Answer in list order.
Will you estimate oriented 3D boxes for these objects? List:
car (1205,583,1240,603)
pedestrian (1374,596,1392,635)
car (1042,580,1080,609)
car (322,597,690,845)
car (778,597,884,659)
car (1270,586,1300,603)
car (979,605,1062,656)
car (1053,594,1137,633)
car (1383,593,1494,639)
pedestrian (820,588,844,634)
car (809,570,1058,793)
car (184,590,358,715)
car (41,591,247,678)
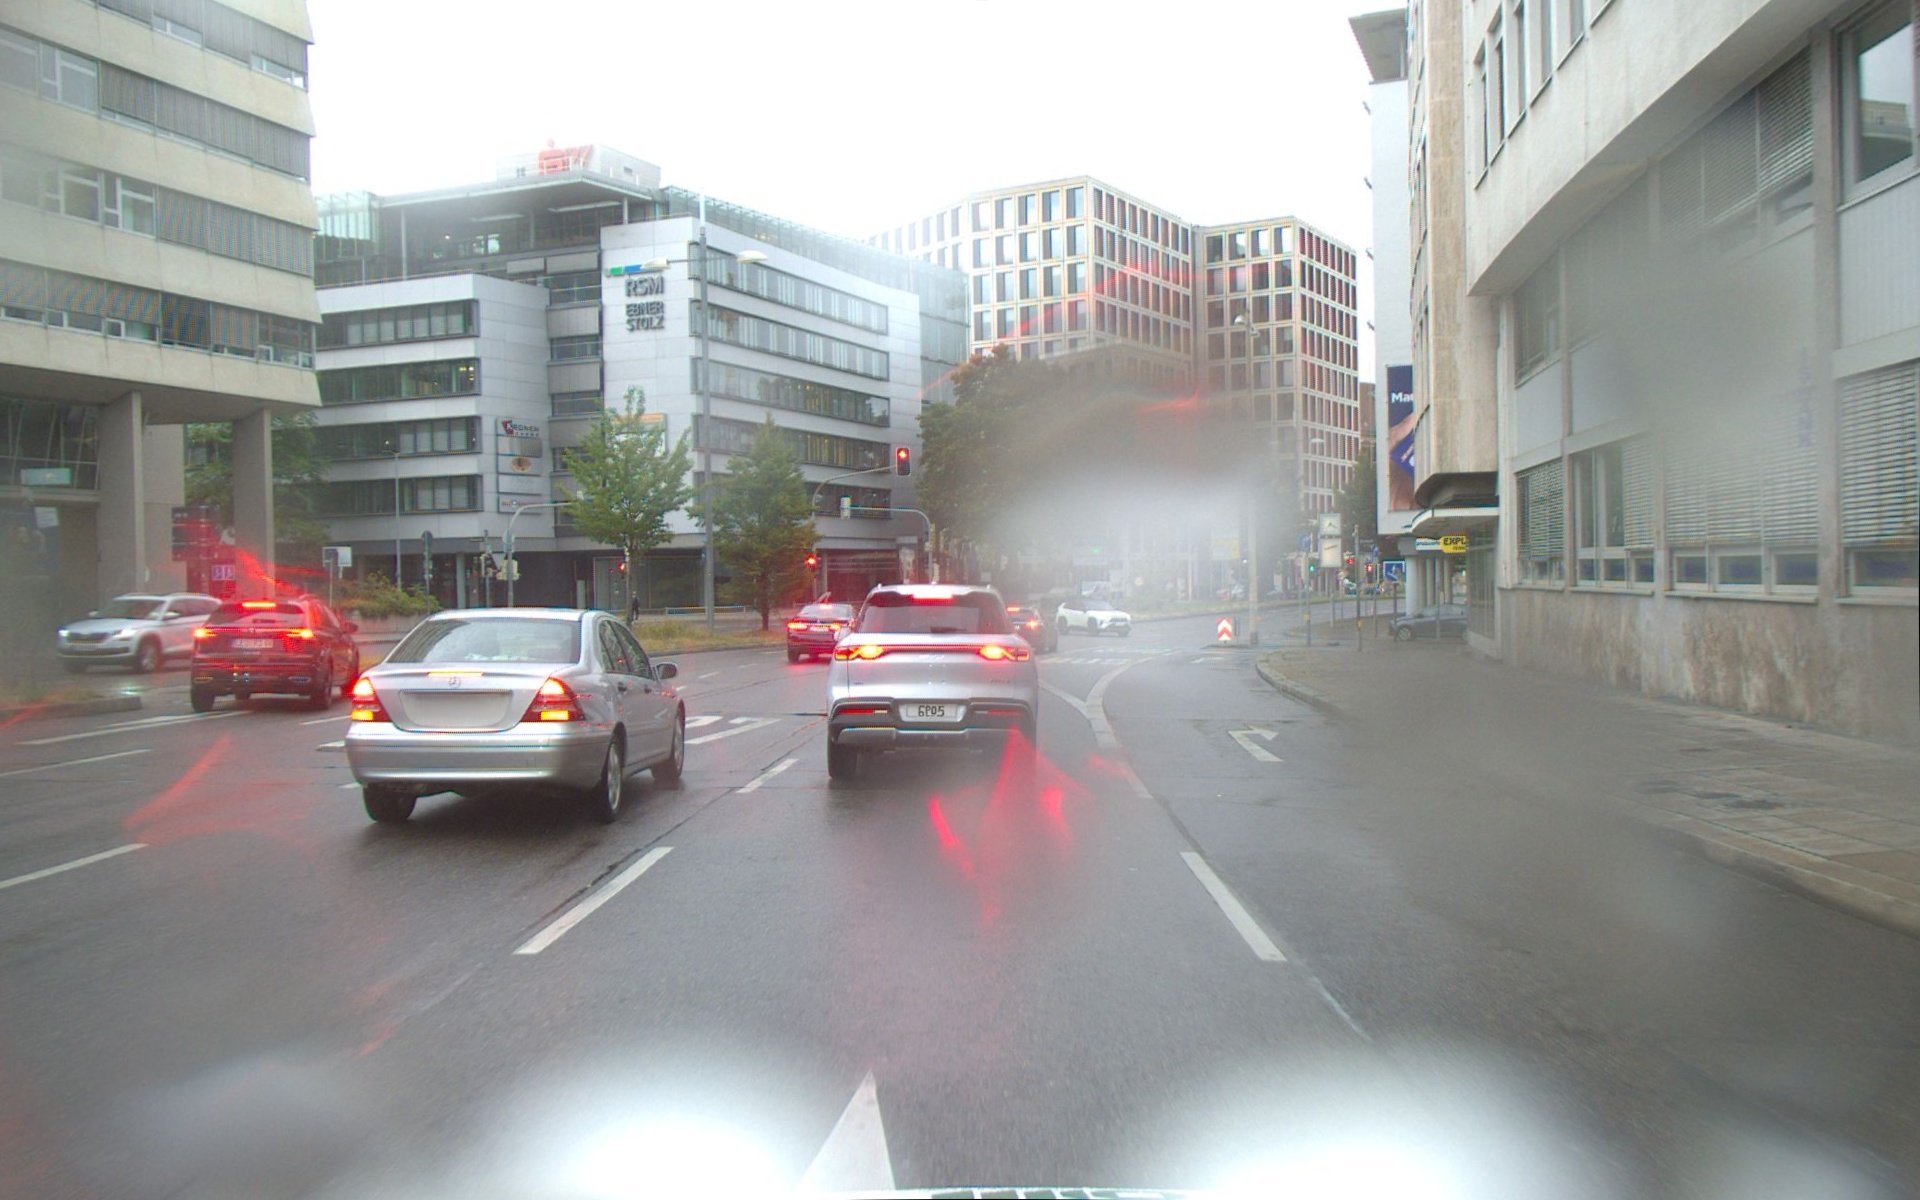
[{"bbox_3d":[24.722,-0.684,155.641,1.956,1.735,4.302,0,2,29],"label":"car"},{"bbox_3d":[18.816,0.701,73.594,0.712,1.698,0.691,0,-1,17],"label":"pedestrian"},{"bbox_3d":[7.776,-0.405,127.052,1.701,2.199,4.494,1,0,20],"label":"car"},{"bbox_3d":[-3.137,0.744,12.286,1.648,1.512,4.195,0,0,-1],"label":"car"},{"bbox_3d":[-3.333,0.696,43.495,1.913,1.557,4.003,0,0,9],"label":"car"},{"bbox_3d":[34.211,-0.574,174.119,1.956,1.735,4.302,0,2,29],"label":"car"},{"bbox_3d":[1.961,0.941,52.604,1.913,1.557,4.003,0,0,13],"label":"car"},{"bbox_3d":[6.205,0.595,76.656,1.968,1.780,4.495,0,0,-25],"label":"car"},{"bbox_3d":[20.004,0.658,69.182,4.254,1.796,2.053,1,0,22],"label":"car"},{"bbox_3d":[-4.989,0.433,64.453,0.903,1.768,0.729,0,0,-3],"label":"pedestrian"},{"bbox_3d":[-0.261,0.642,15.291,1.953,1.739,4.481,0,0,-2],"label":"car"},{"bbox_3d":[-9.624,0.672,23.411,1.963,1.571,4.458,0,0,-19],"label":"car"},{"bbox_3d":[-17.741,0.718,36.218,1.700,1.758,4.497,1,0,10],"label":"car"}]
